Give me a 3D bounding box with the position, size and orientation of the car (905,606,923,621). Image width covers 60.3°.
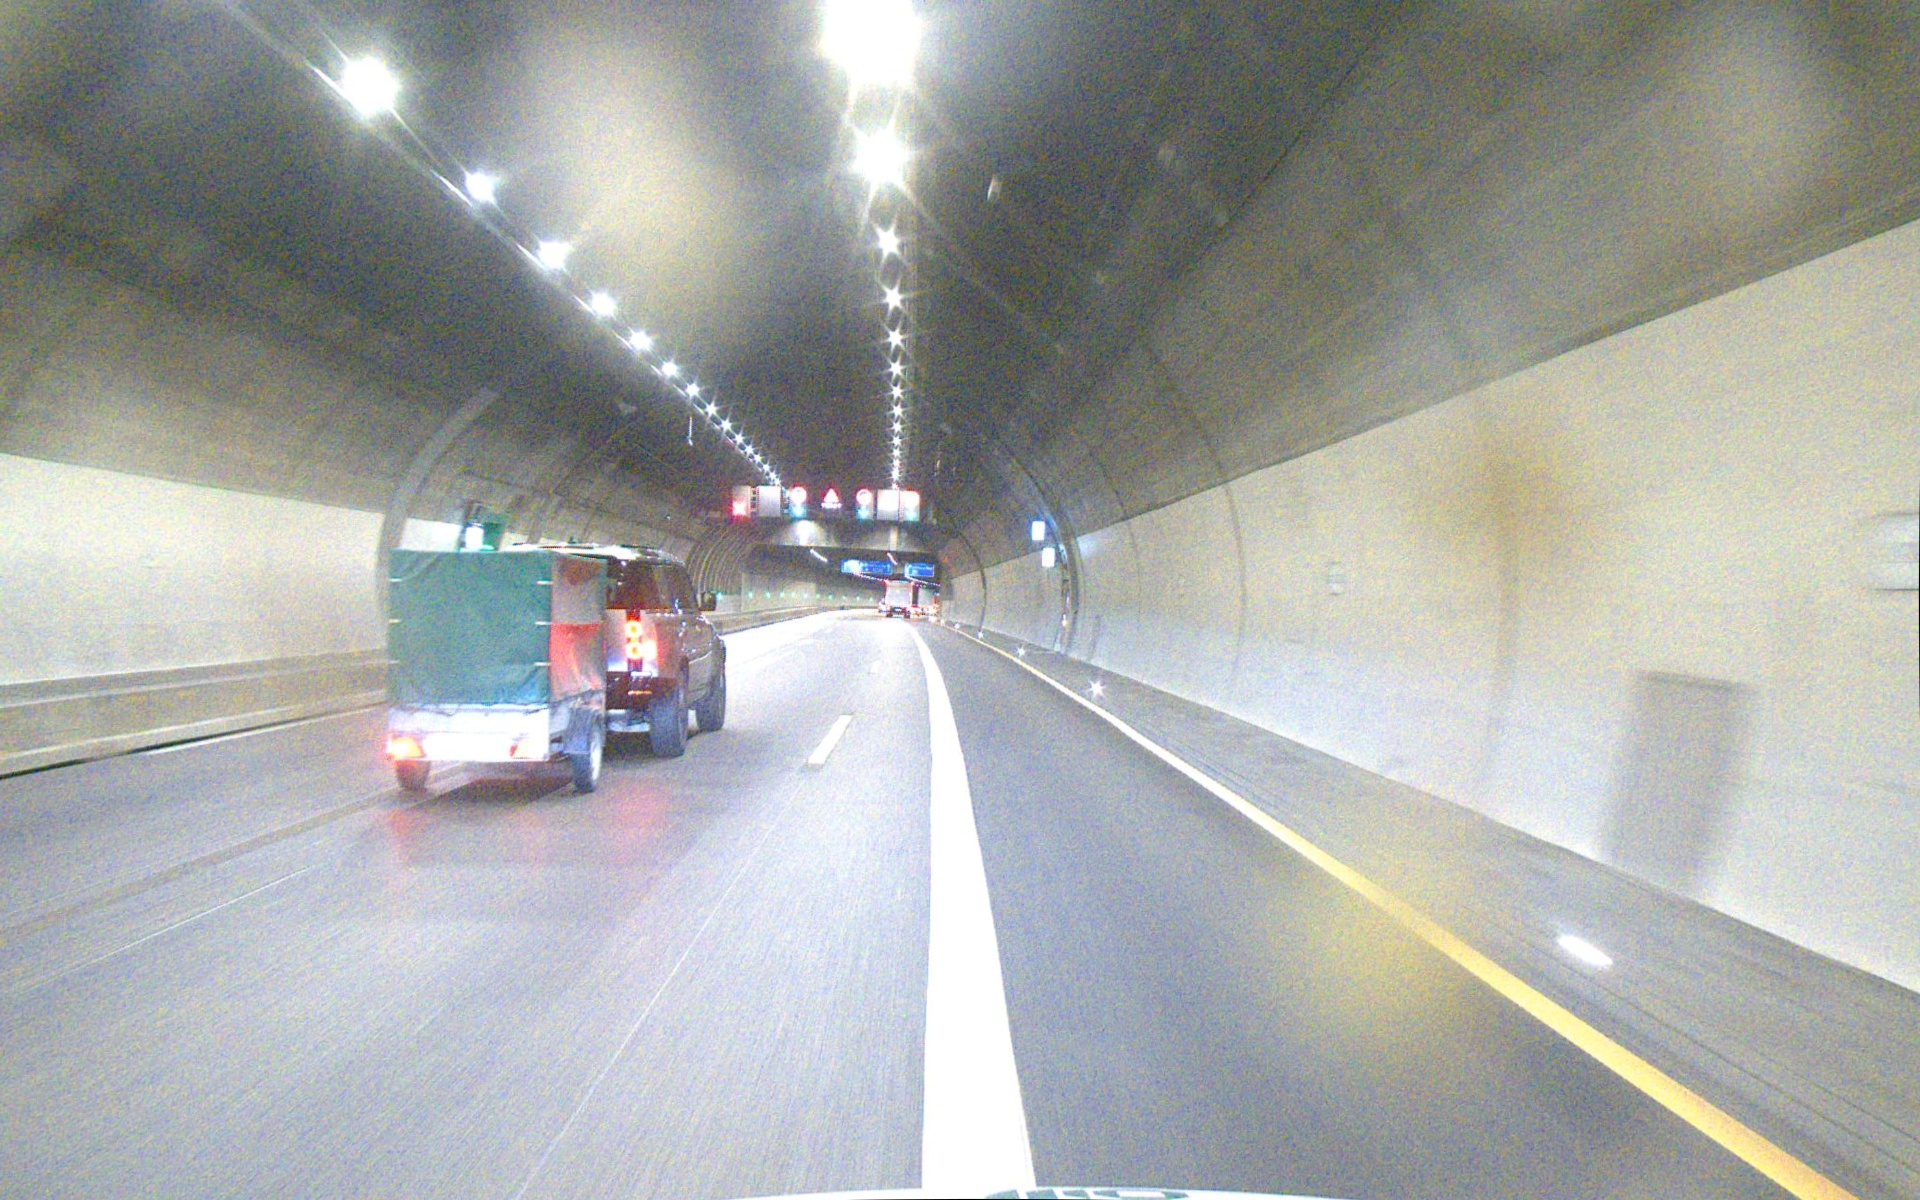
[{"bbox_3d":[-6.112,1.762,221.671,1.952,1.928,5.534,1,0,2],"label":"car"}]

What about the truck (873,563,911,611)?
[{"bbox_3d":[-6.655,-1.285,161.385,3.405,4.391,10.946,1,0,-3],"label":"truck"}]

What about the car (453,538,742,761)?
[{"bbox_3d":[-3.494,0.417,17.051,1.953,1.928,5.451,0,0,-2],"label":"car"}]

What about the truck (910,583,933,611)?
[{"bbox_3d":[-6.078,-0.478,259.699,3.404,4.392,10.946,0,0,-3],"label":"truck"}]

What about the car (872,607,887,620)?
[{"bbox_3d":[-10.745,1.783,221.262,1.954,1.609,3.997,1,0,-3],"label":"car"}]
